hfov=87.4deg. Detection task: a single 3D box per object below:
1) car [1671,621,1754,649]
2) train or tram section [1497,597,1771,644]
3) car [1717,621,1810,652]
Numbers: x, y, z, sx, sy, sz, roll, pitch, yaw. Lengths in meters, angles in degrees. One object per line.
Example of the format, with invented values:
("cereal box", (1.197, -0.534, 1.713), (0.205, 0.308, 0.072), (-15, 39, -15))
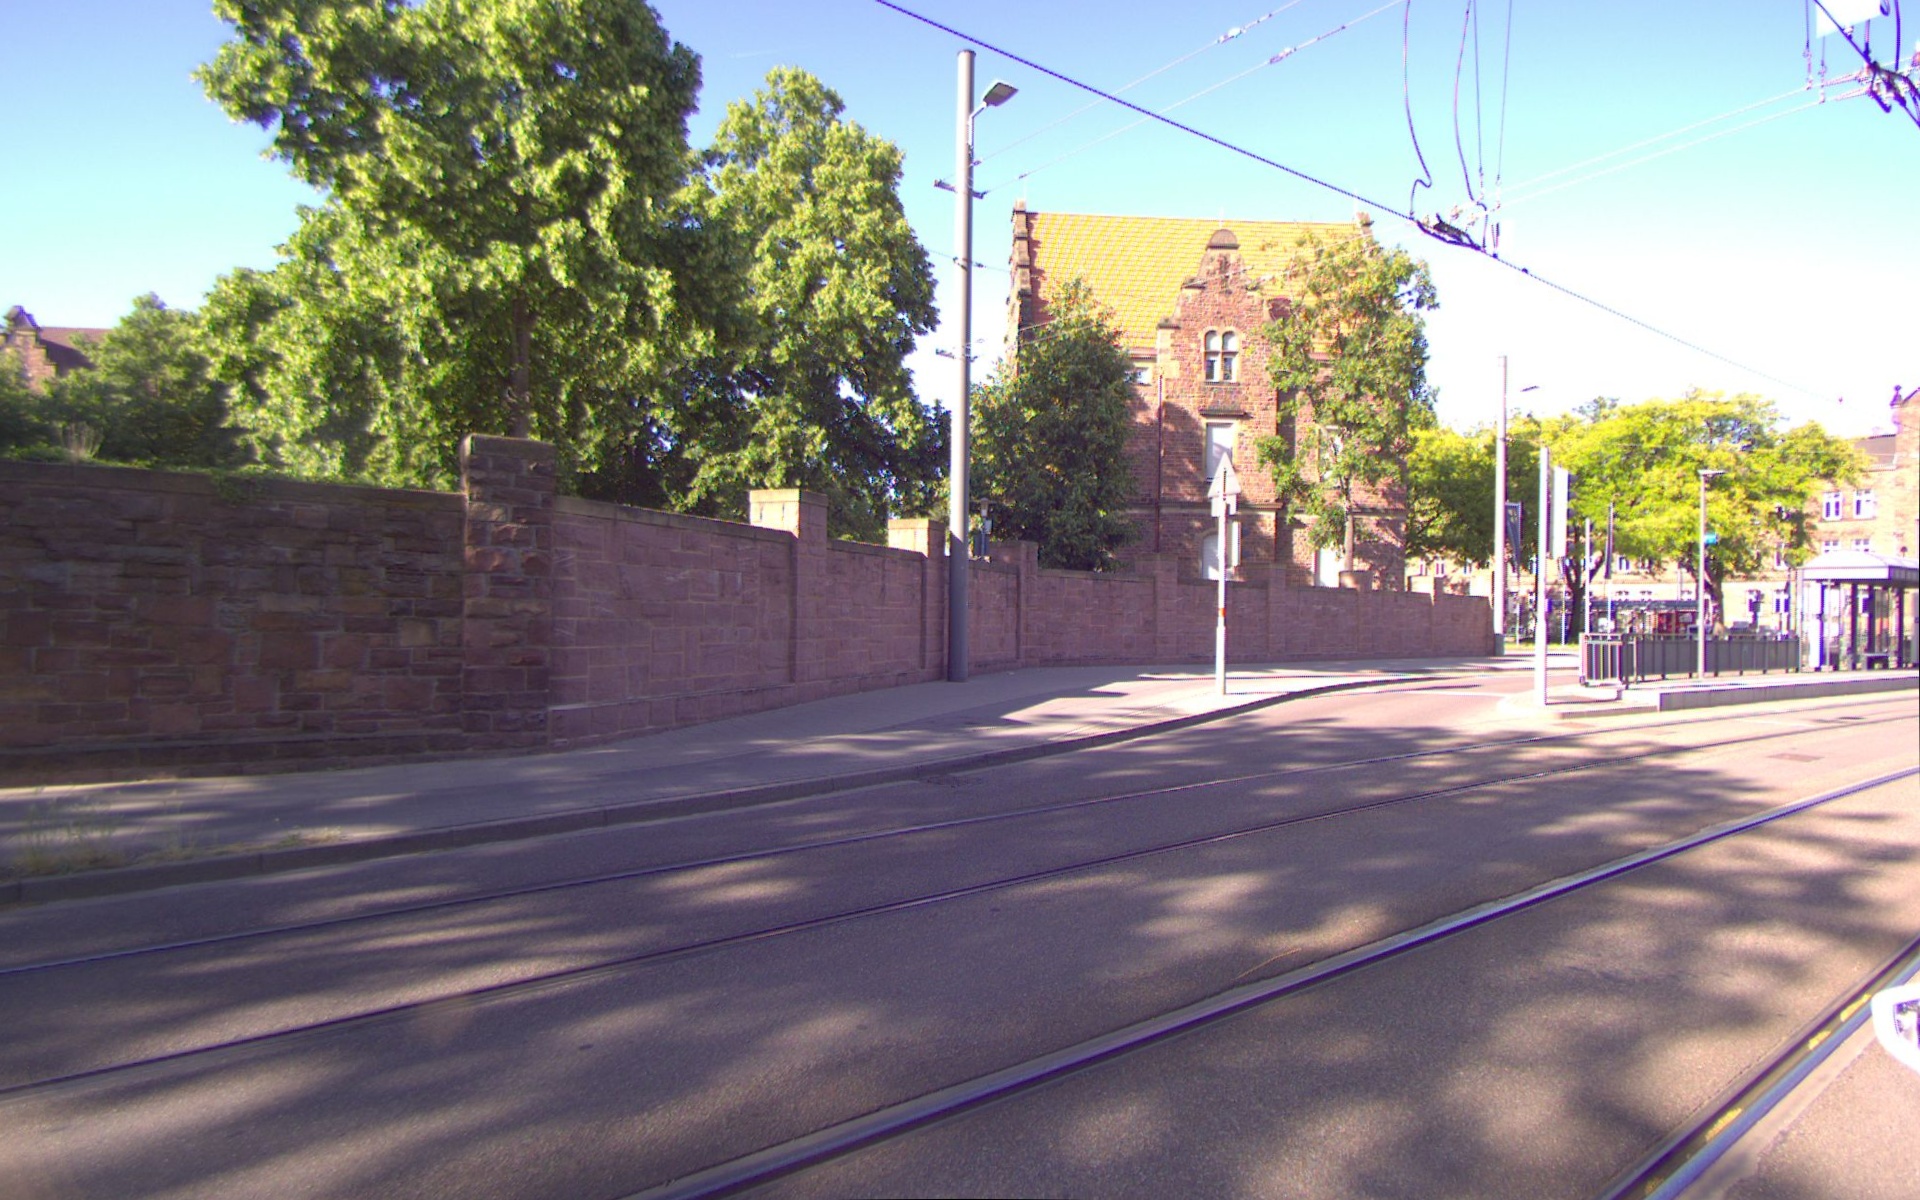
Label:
("car", (49.184, 2.245, 65.678), (1.798, 1.651, 3.964), (2, 0, -32))
("train or tram section", (50.035, 1.463, 75.883), (3.312, 3.196, 17.280), (2, -1, -33))
("car", (47.759, 2.162, 59.794), (1.798, 1.651, 3.964), (2, 0, -32))
